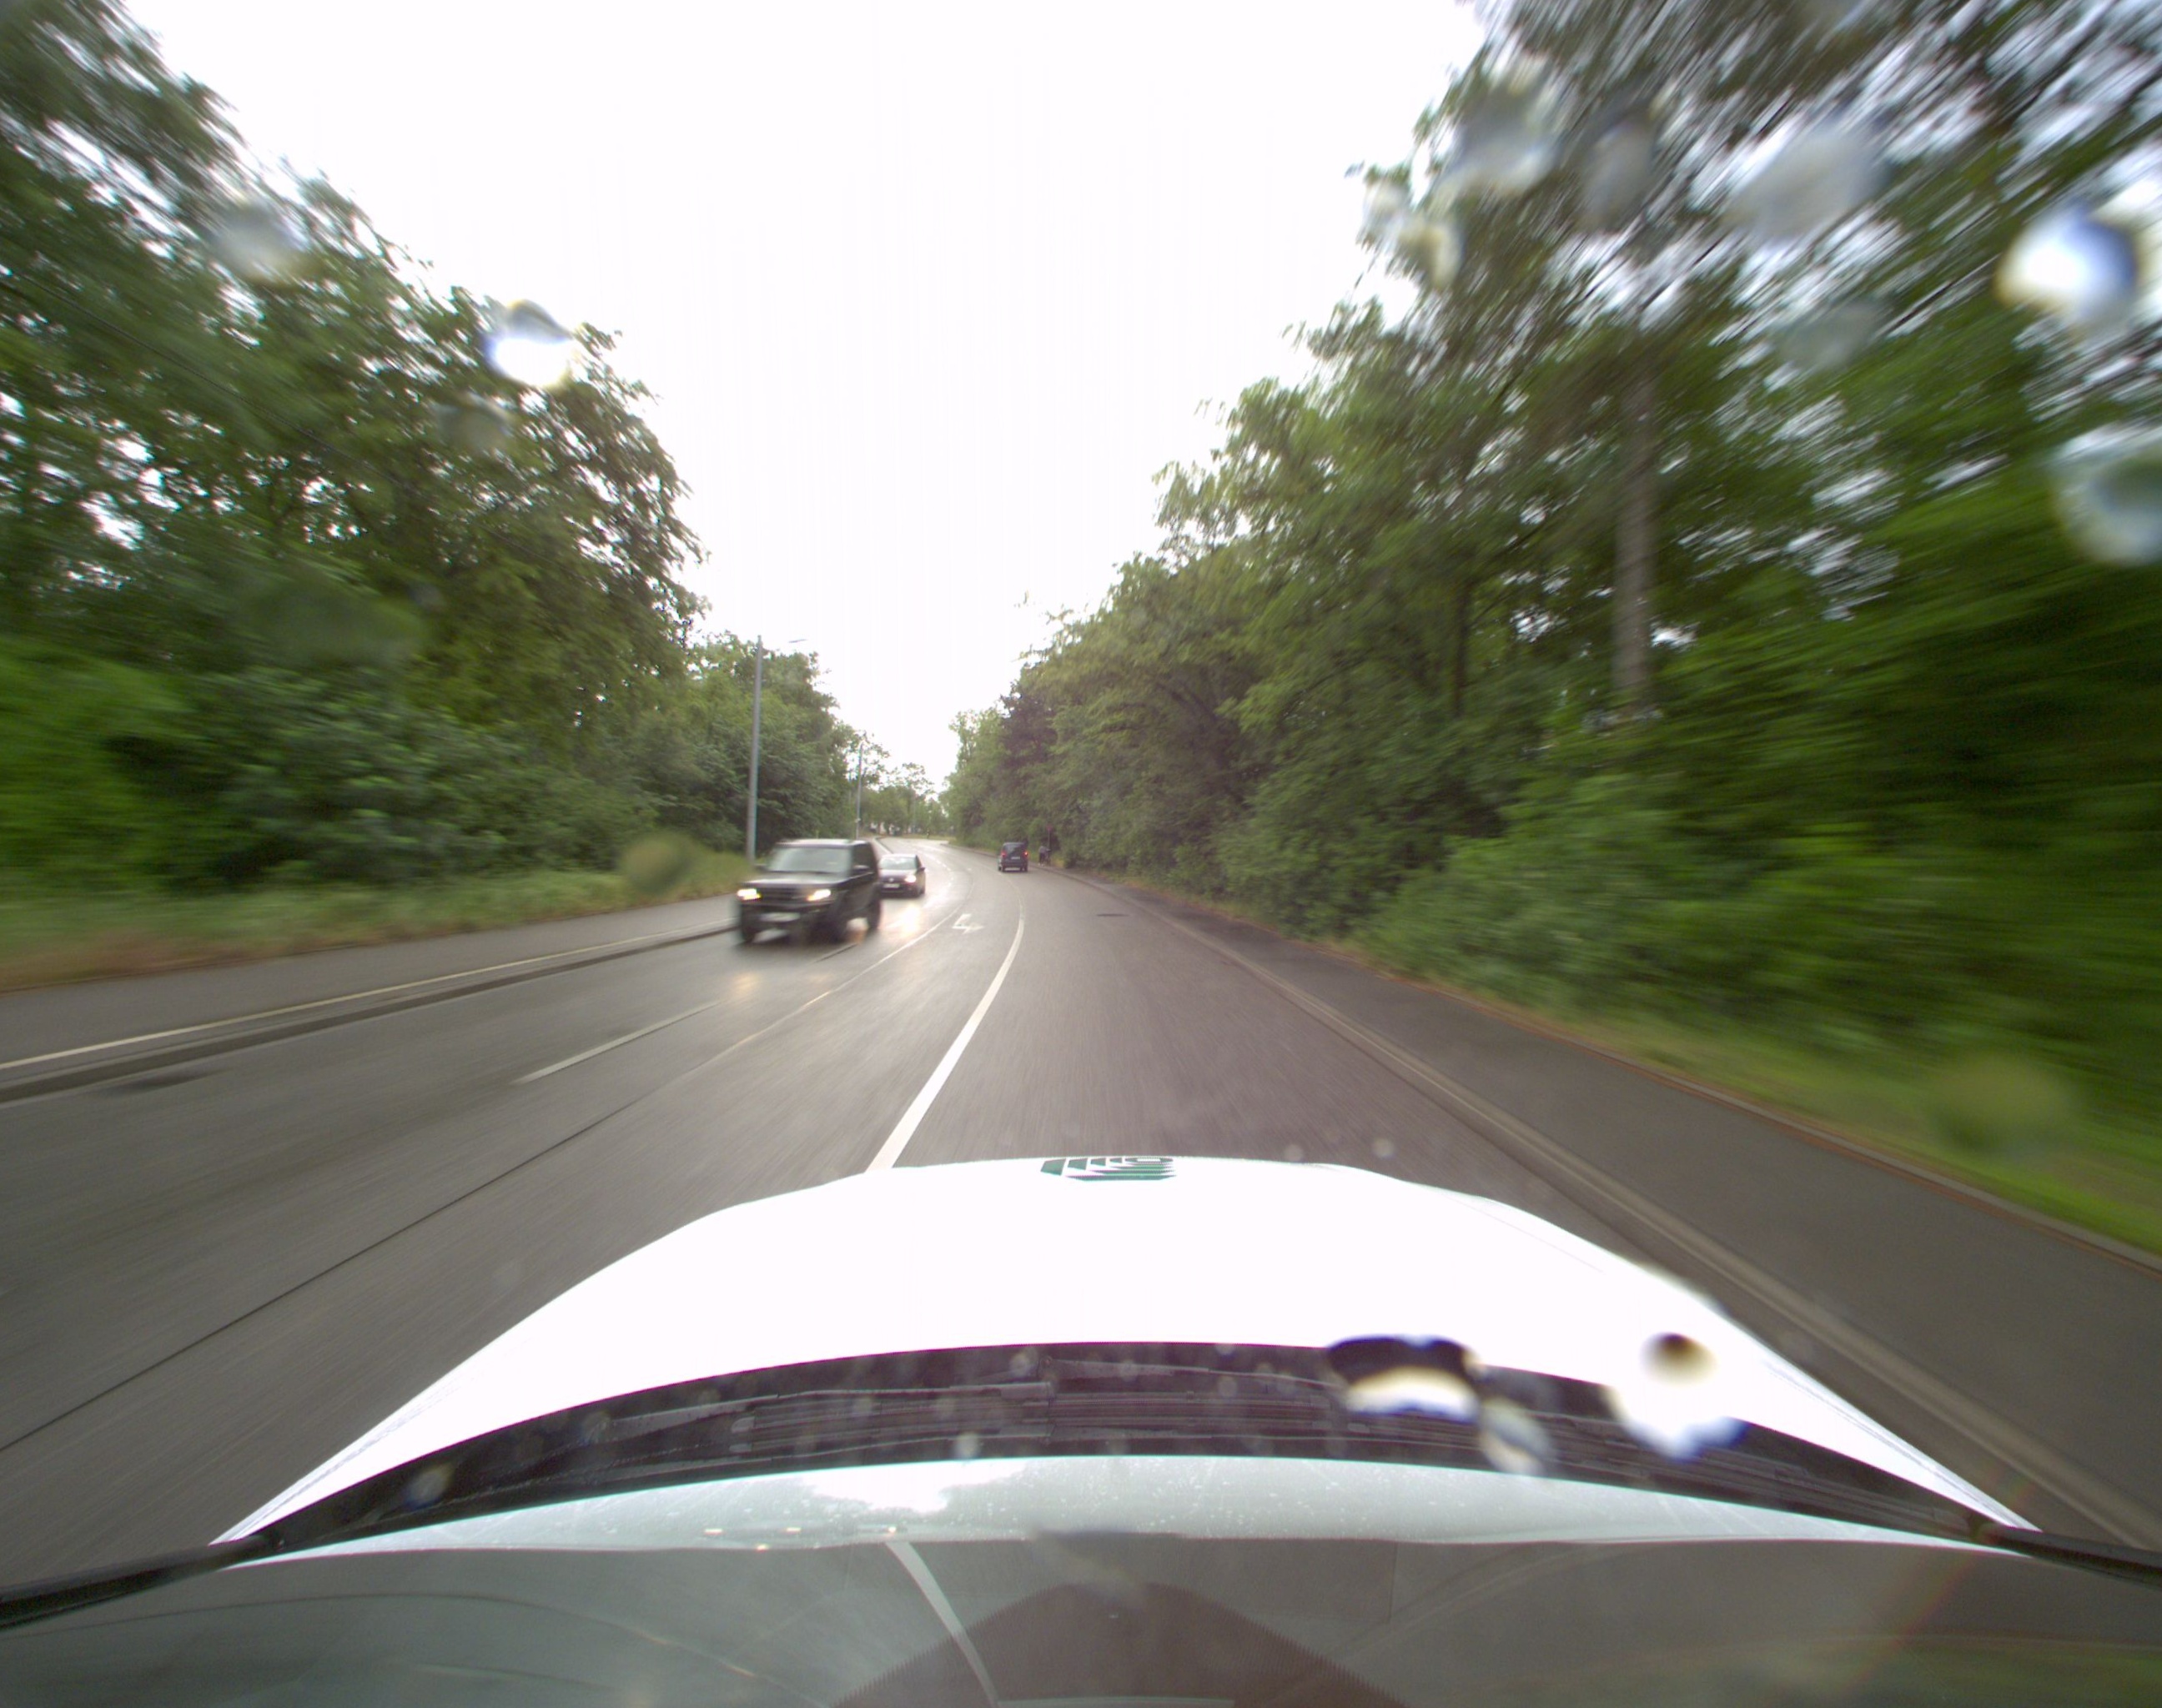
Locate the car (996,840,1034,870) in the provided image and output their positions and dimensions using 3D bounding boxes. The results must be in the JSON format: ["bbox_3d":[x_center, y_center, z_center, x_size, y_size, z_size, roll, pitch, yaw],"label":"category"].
[{"bbox_3d":[-4.248,0.072,51.840,1.829,1.794,3.982,-1,0,-13],"label":"car"}]

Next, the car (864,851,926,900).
[{"bbox_3d":[-6.613,0.715,29.308,1.826,1.440,3.991,0,3,-8],"label":"car"}]

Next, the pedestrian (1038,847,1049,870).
[{"bbox_3d":[-2.630,0.336,57.193,0.565,1.577,0.766,-1,-1,-13],"label":"pedestrian"}]

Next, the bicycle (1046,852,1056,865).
[{"bbox_3d":[-2.074,0.318,56.536,0.356,0.849,1.735,-3,3,-13],"label":"bicycle"}]

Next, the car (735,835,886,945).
[{"bbox_3d":[-5.136,0.556,16.159,1.824,1.842,4.703,0,2,-6],"label":"car"}]

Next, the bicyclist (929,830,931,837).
[{"bbox_3d":[-31.929,-4.356,172.634,0.336,1.573,1.293,0,4,-13],"label":"bicyclist"}]
